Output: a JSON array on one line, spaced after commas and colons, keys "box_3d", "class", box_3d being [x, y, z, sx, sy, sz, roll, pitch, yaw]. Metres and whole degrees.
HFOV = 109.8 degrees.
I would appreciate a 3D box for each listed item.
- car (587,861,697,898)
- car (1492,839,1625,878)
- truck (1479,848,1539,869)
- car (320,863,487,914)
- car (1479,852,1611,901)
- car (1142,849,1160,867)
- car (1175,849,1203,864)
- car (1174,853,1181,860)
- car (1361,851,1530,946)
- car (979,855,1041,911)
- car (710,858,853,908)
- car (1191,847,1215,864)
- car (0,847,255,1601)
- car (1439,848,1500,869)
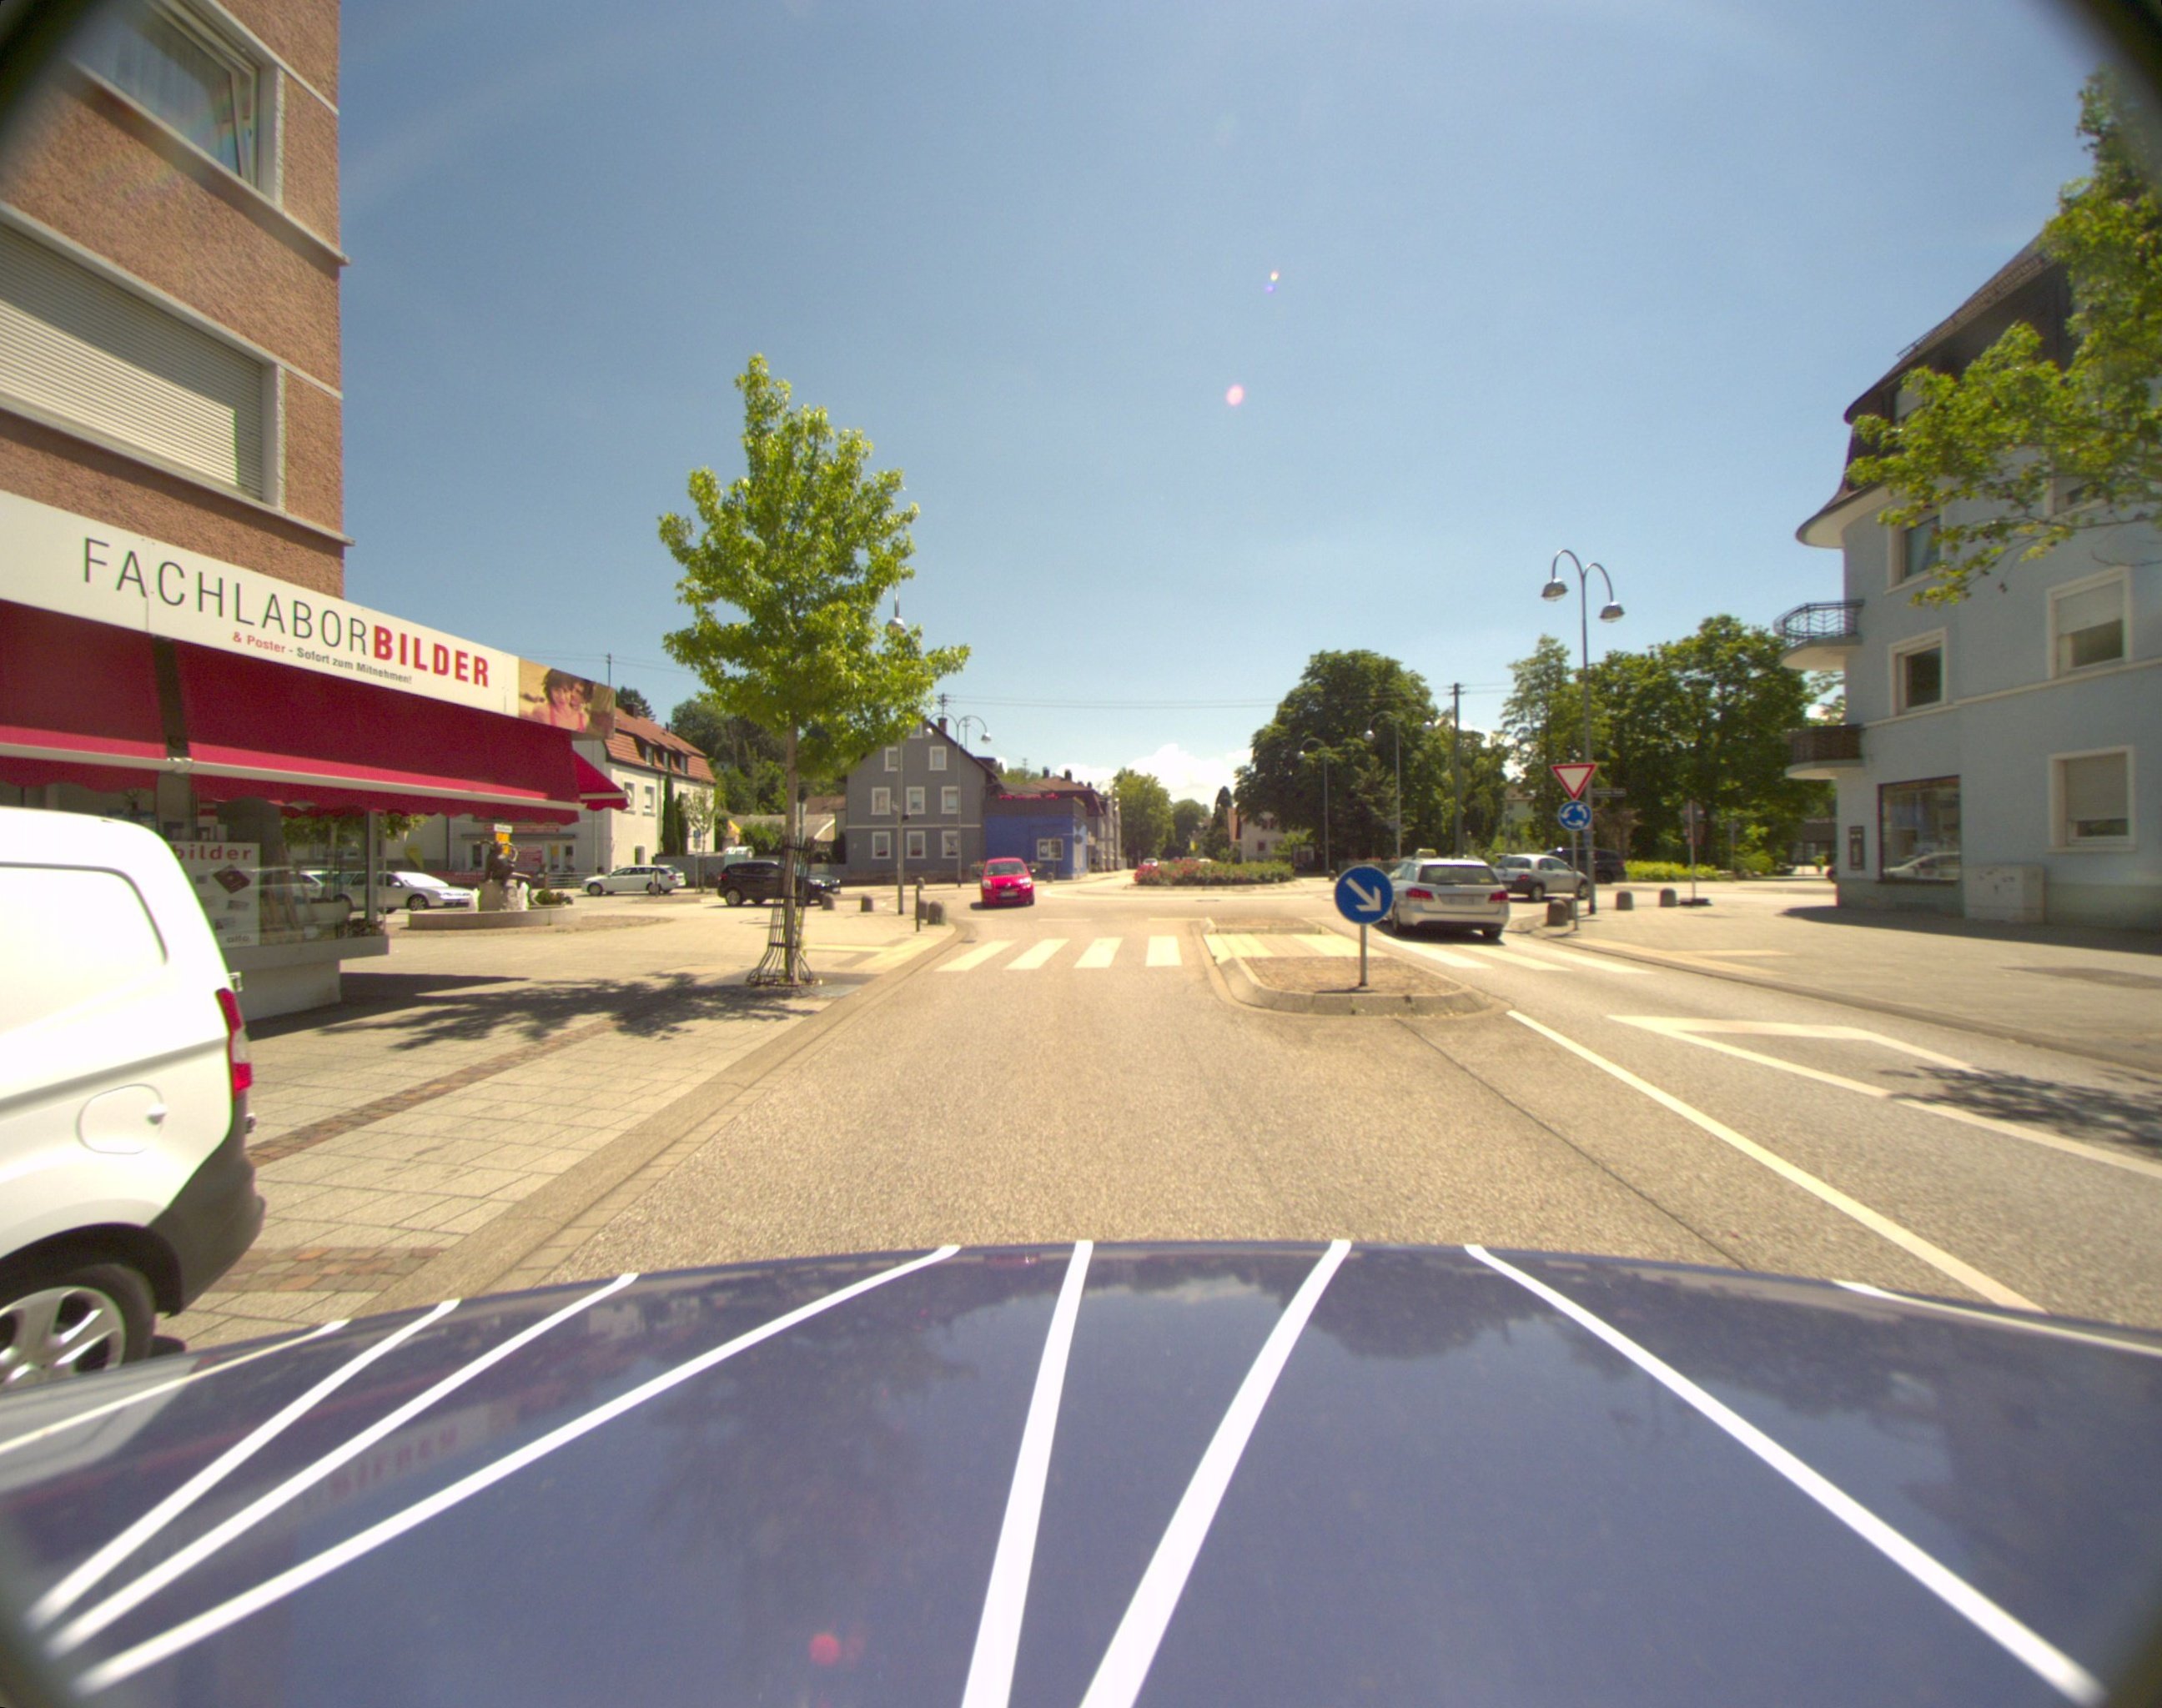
[{"box_3d": [-22.018, 1.236, 38.245, 4.287, 1.576, 1.997, -1, 4, -9], "class": "car"}, {"box_3d": [20.443, 0.220, 32.783, 4.607, 1.575, 1.952, 0, -2, 22], "class": "car"}, {"box_3d": [52.886, 0.595, 94.044, 6.201, 2.428, 2.270, -1, -3, 39], "class": "truck"}, {"box_3d": [-22.566, 1.150, 25.424, 3.996, 1.580, 1.802, -1, -2, 2], "class": "car"}, {"box_3d": [14.708, 0.678, 24.079, 3.794, 1.449, 1.702, 0, 0, -24], "class": "car"}, {"box_3d": [8.205, 0.461, 89.182, 1.997, 2.001, 4.004, 1, -2, 6], "class": "car"}, {"box_3d": [12.144, 0.286, 85.689, 2.000, 1.553, 4.164, 3, 0, -6], "class": "car"}, {"box_3d": [27.868, 0.782, 220.422, 1.738, 1.695, 4.003, -2, -2, 3], "class": "car"}, {"box_3d": [7.106, 0.764, 15.423, 1.996, 1.583, 5.004, 0, 0, 12], "class": "car"}, {"box_3d": [-2.362, 0.885, 25.347, 1.834, 1.524, 3.997, -3, 2, -5], "class": "car"}, {"box_3d": [-11.153, 1.058, 28.469, 4.521, 1.678, 2.001, -1, 1, 6], "class": "car"}, {"box_3d": [11.122, 0.193, 68.926, 1.930, 1.373, 4.292, -3, -1, 11], "class": "car"}, {"box_3d": [-3.248, 0.835, 0.276, 1.752, 1.714, 3.909, 1, 0, -3], "class": "car"}, {"box_3d": [30.205, 0.349, 59.197, 1.845, 1.592, 3.992, -1, 0, -24], "class": "car"}]
